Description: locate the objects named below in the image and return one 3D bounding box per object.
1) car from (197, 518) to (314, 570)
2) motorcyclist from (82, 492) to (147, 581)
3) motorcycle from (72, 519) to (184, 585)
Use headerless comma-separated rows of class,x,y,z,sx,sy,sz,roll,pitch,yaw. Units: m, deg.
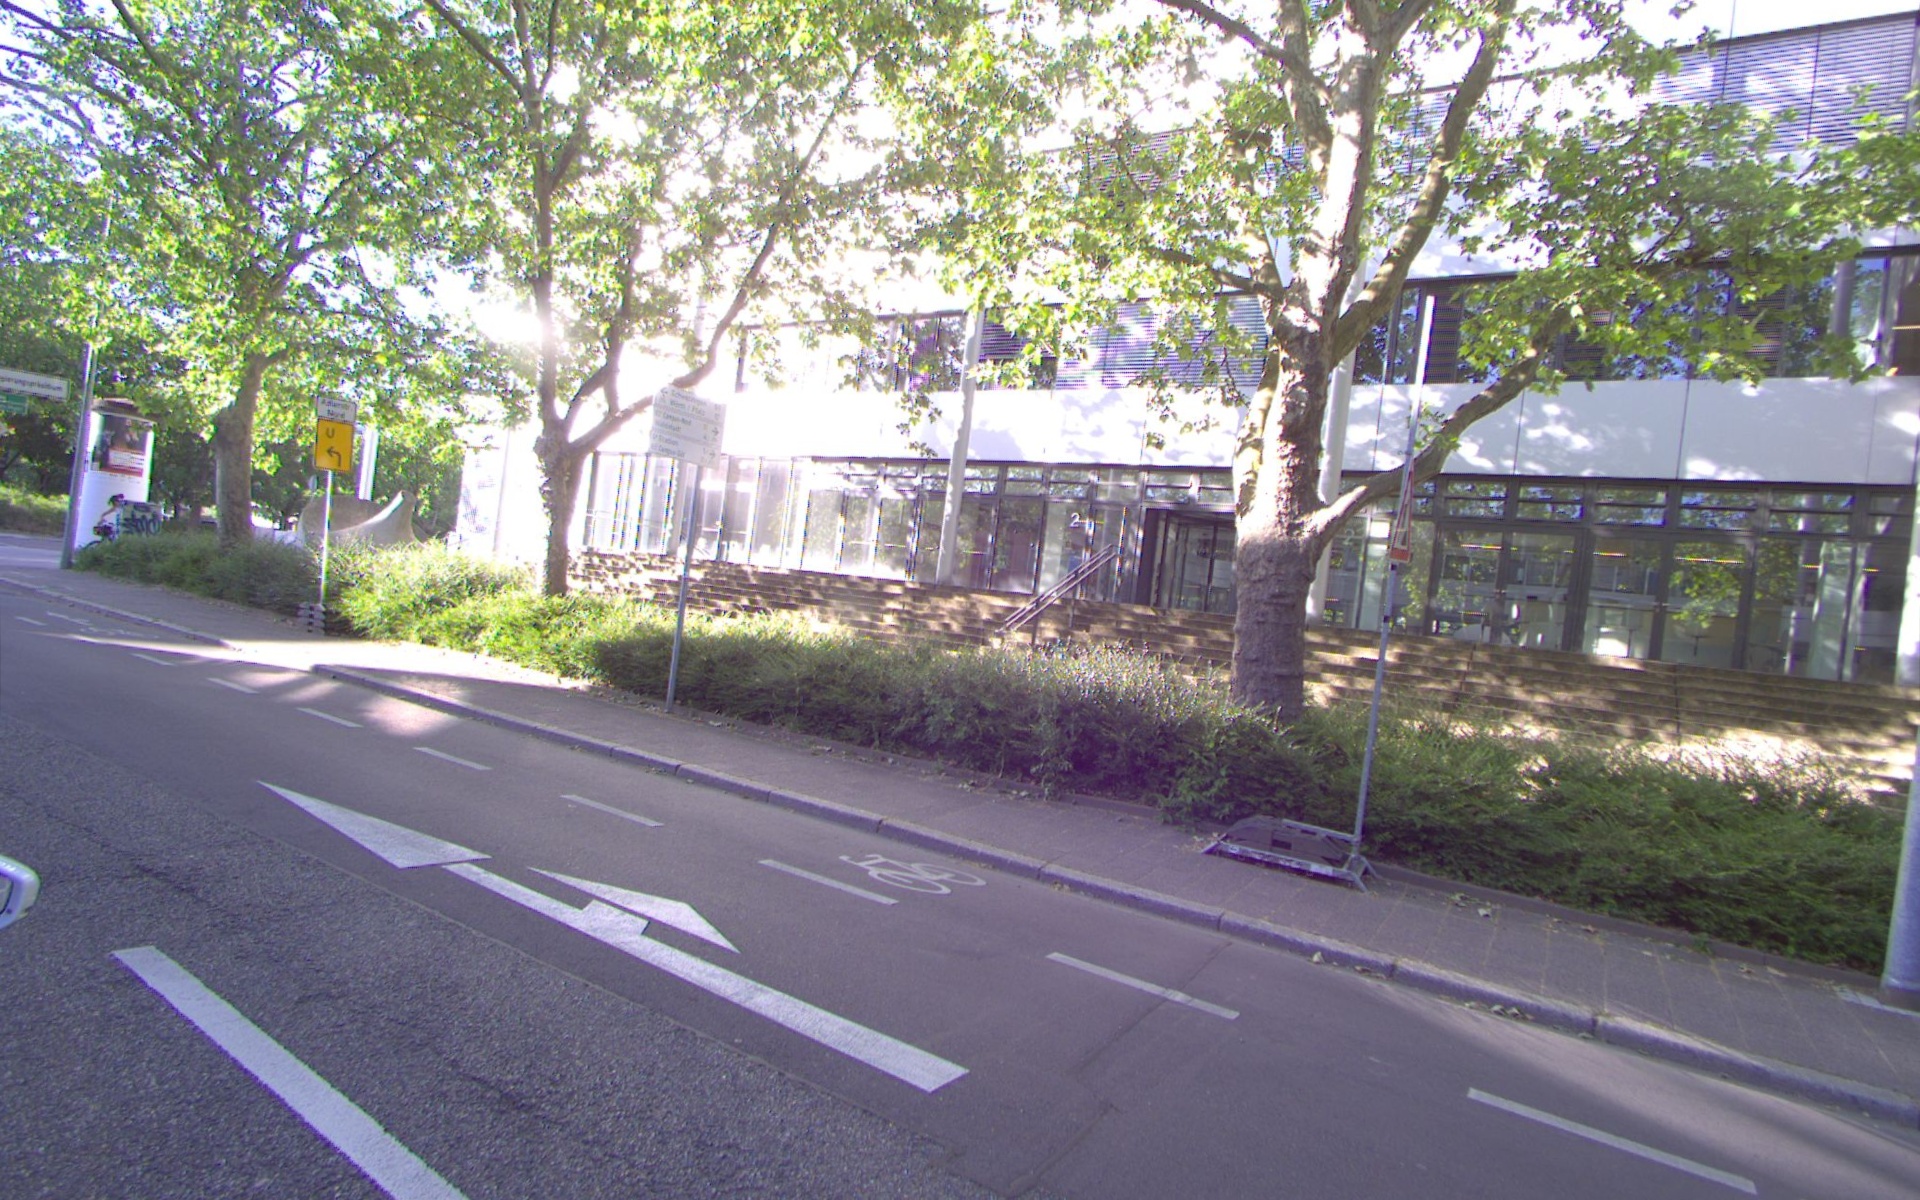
car,-32.701,-2.567,46.820,1.708,1.792,3.995,7,-1,30
motorcyclist,-19.353,-1.450,23.032,0.662,1.885,0.823,6,-1,37
motorcycle,-19.226,-1.096,23.279,0.712,1.257,1.782,6,-2,37
